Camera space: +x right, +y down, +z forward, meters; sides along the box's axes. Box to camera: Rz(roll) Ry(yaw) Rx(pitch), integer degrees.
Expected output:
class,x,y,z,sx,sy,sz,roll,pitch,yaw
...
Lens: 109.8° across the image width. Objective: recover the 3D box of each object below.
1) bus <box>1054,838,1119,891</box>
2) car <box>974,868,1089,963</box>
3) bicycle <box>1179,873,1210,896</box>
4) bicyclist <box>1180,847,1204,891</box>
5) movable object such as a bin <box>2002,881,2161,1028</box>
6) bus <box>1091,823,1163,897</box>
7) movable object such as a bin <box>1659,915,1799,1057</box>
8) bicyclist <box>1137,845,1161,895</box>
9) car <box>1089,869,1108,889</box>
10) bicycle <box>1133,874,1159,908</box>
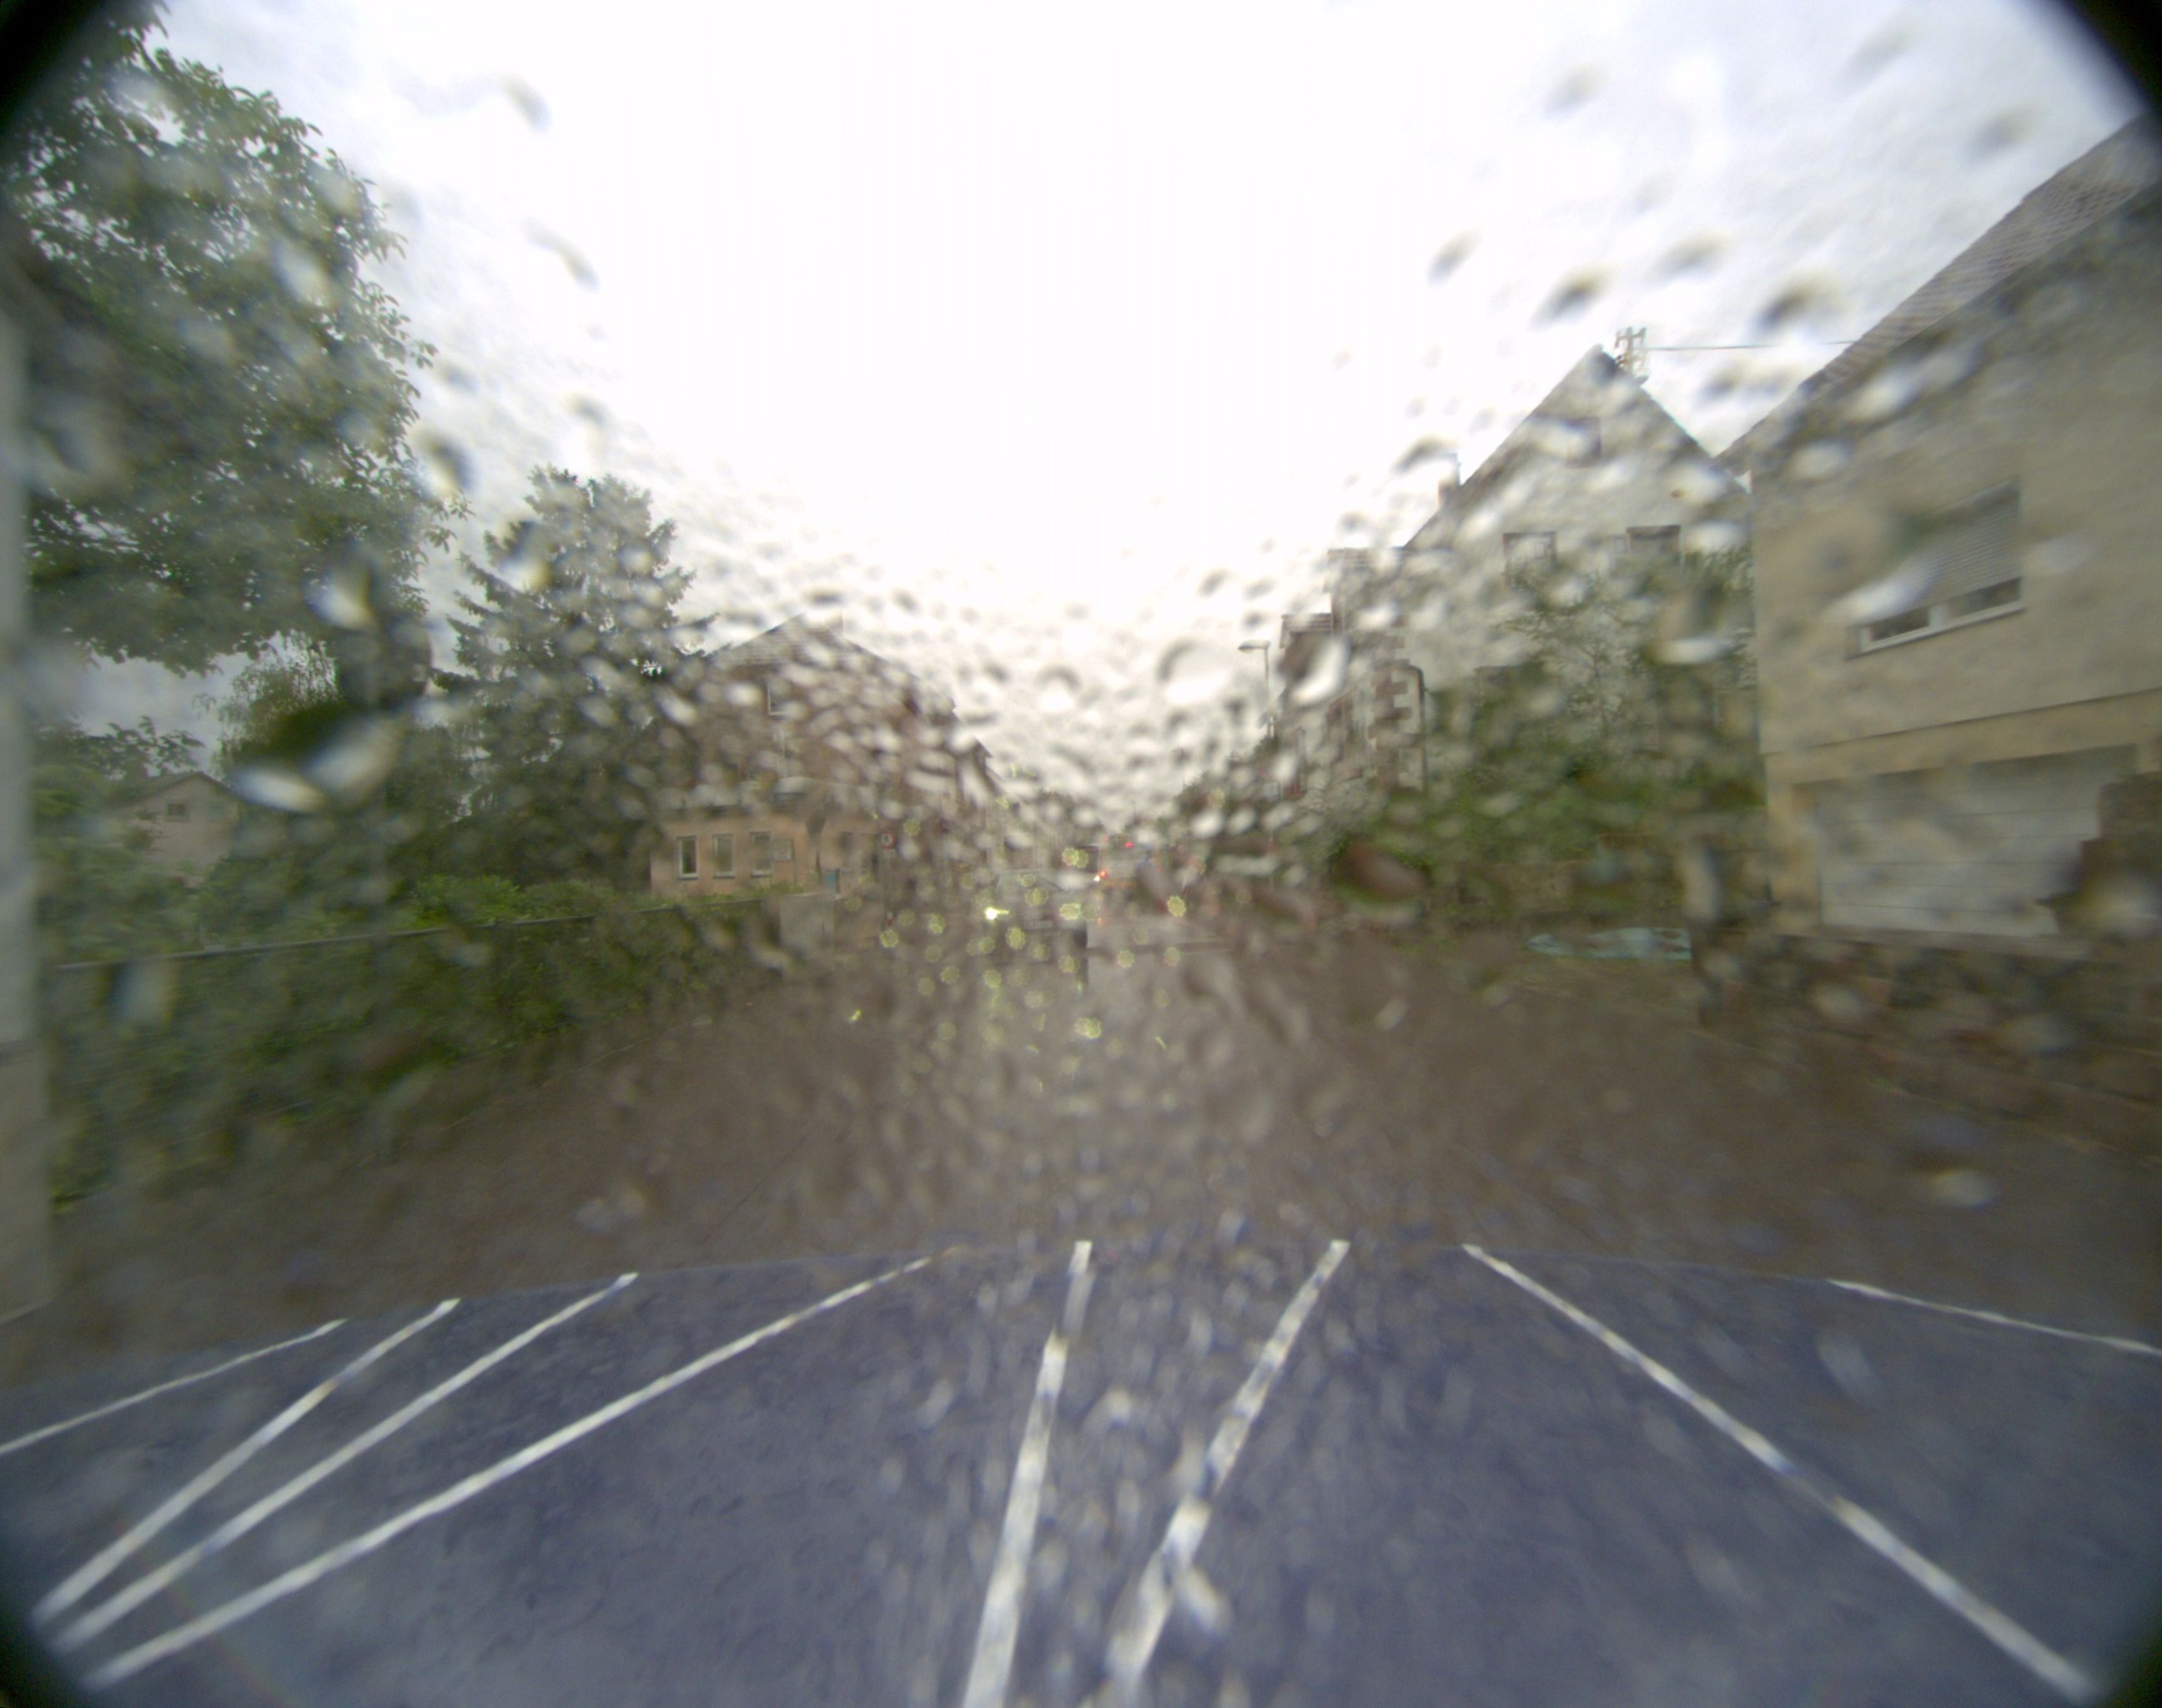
class,x,y,z,sx,sy,sz,roll,pitch,yaw
bus,0.692,0.679,57.506,3.439,3.391,13.876,-2,0,6
car,-0.775,1.026,14.341,1.780,1.348,4.188,-4,0,1
bicycle,4.710,1.251,31.451,0.662,0.865,1.938,-4,-2,25
bicyclist,4.575,0.602,31.260,0.657,1.759,0.705,-4,-2,25
movable object such as a bin,8.015,0.762,5.985,0.623,1.056,0.656,-3,-2,2
bus,2.393,0.276,37.453,2.812,2.921,11.945,-4,0,5
movable object such as a bin,4.802,0.956,5.657,0.539,0.925,0.544,-4,1,-2
bicyclist,2.422,0.568,27.099,0.689,1.703,0.703,-4,1,0
car,1.729,2.439,74.932,1.780,1.787,4.188,-4,0,1
bicycle,2.290,1.289,27.127,0.682,1.045,2.339,-4,0,1
